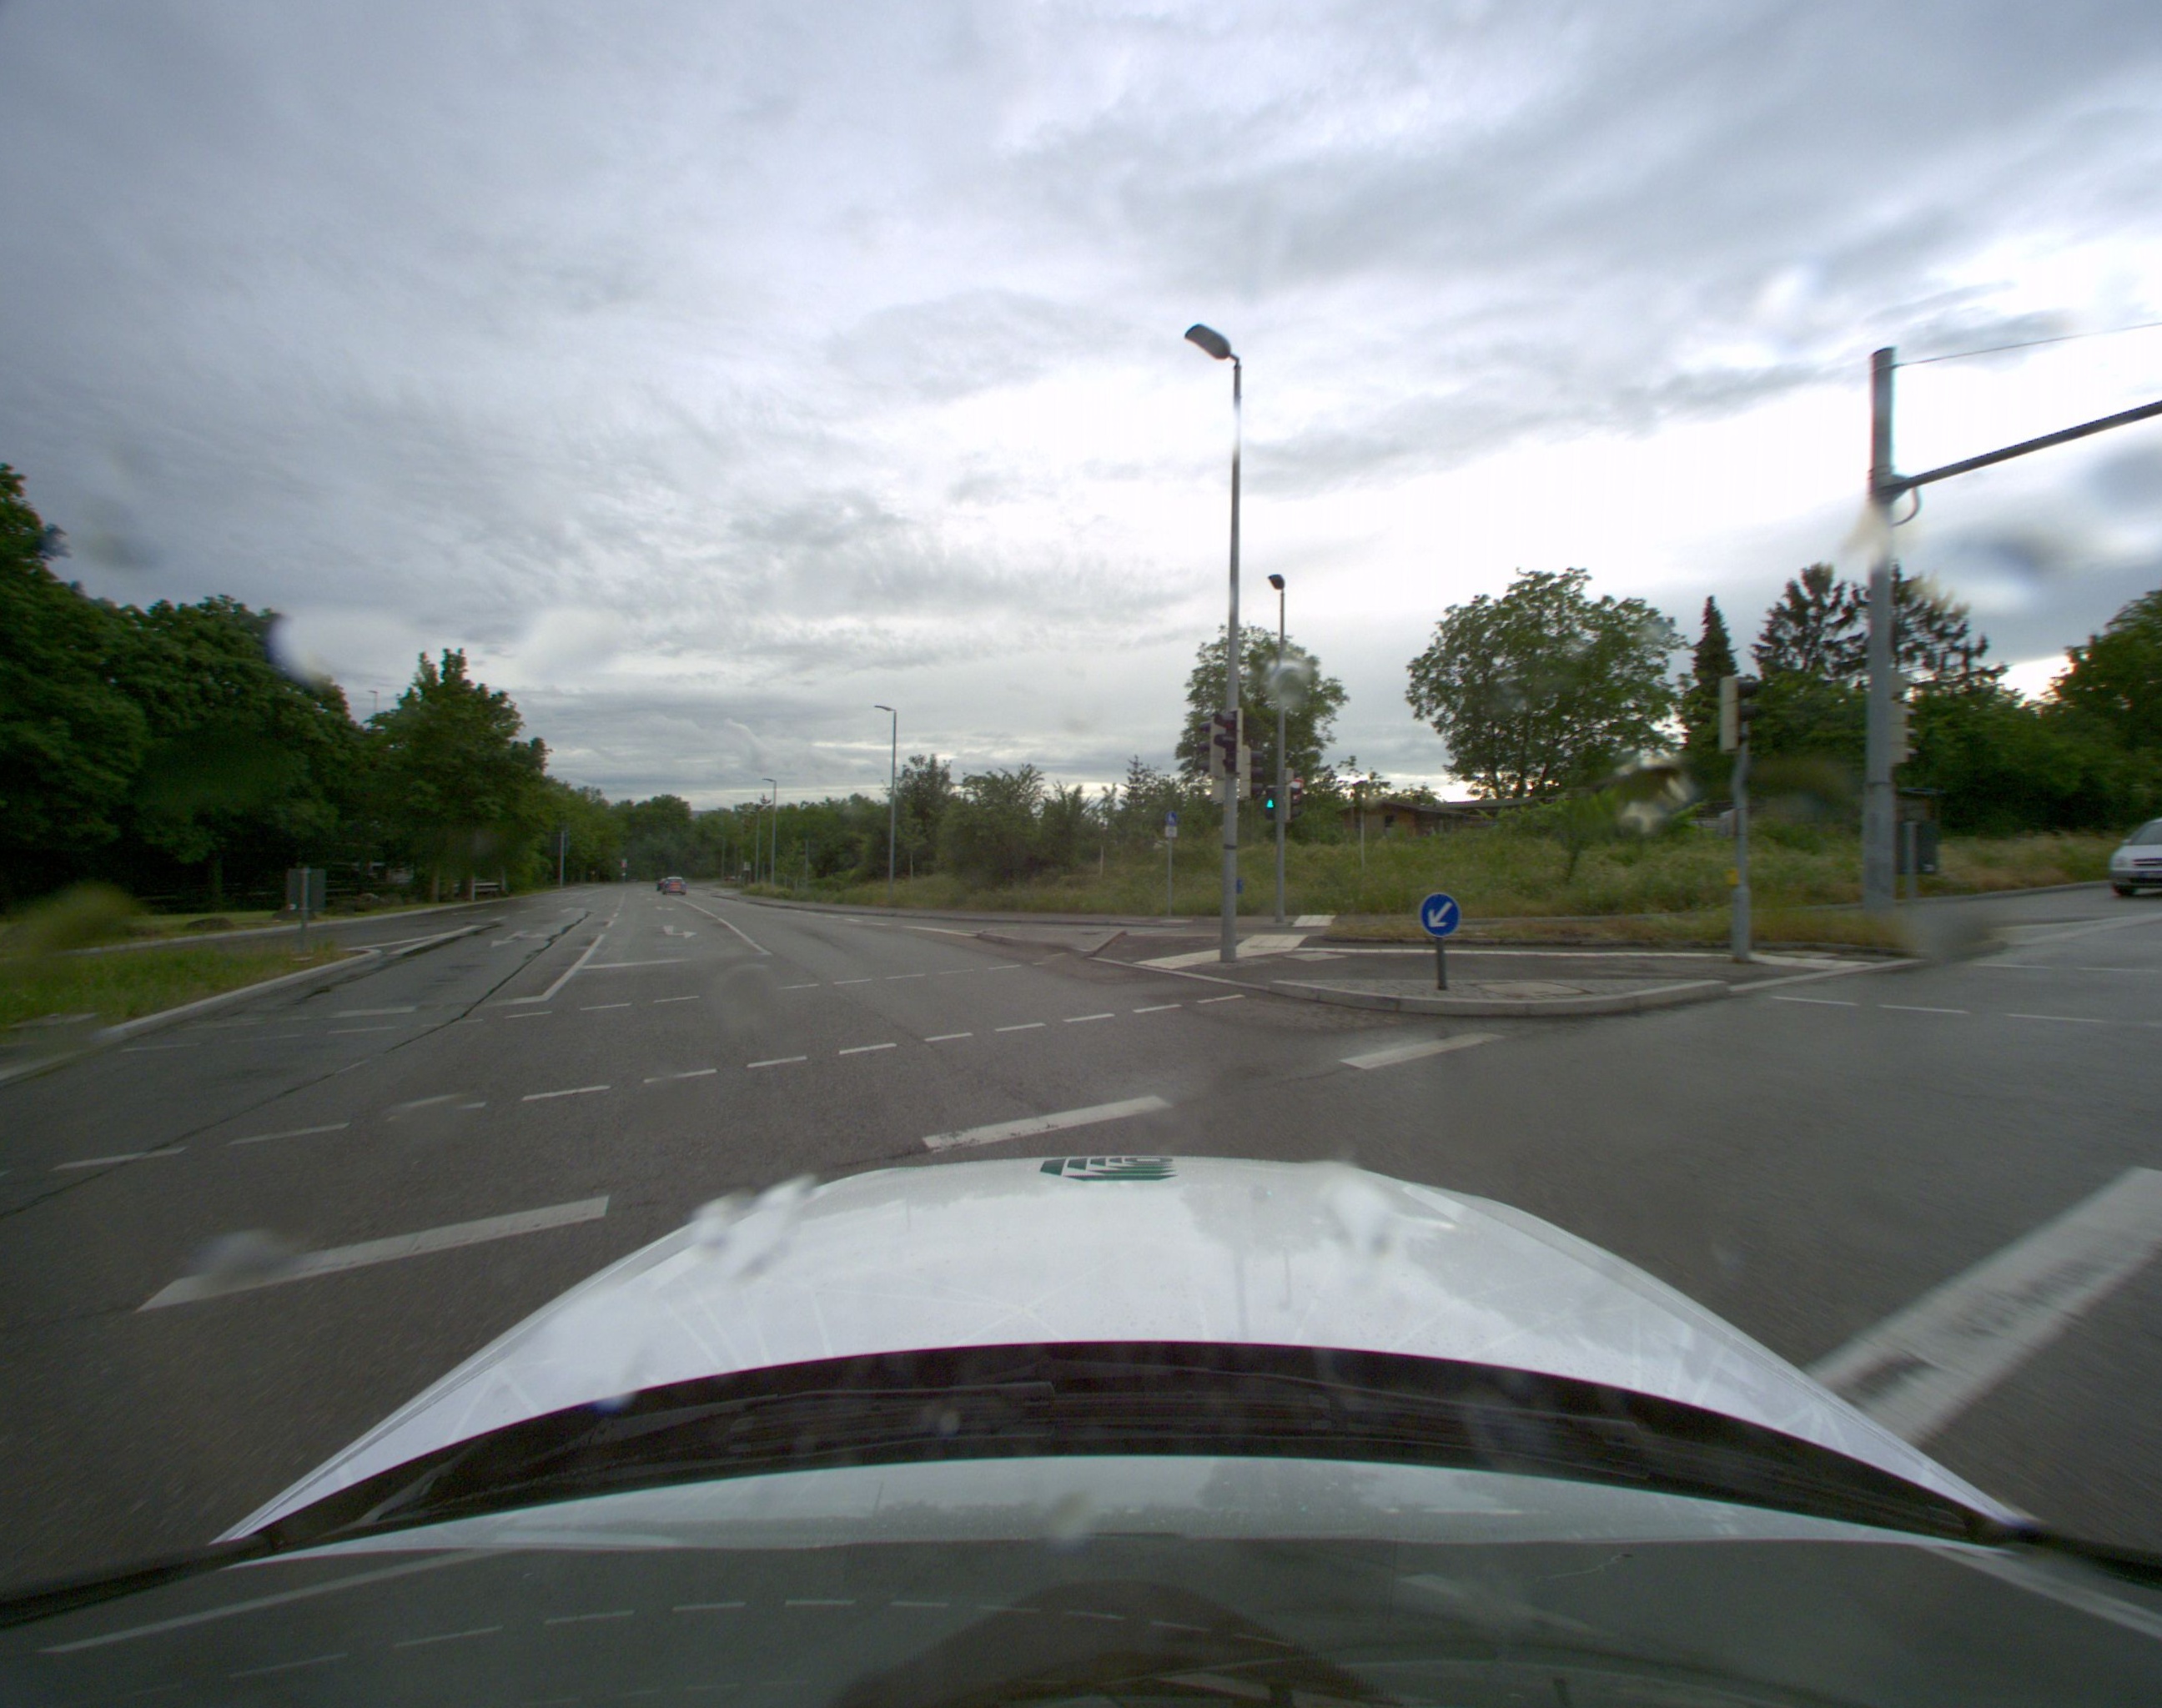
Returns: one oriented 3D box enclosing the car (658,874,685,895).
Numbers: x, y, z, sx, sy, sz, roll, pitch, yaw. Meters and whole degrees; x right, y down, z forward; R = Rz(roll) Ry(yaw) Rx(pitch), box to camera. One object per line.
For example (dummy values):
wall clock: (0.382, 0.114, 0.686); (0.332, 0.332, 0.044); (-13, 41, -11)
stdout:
car: (-35.947, 2.635, 71.444); (2.005, 1.689, 3.964); (0, 0, -28)

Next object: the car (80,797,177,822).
car: (-64.311, -3.010, 55.063); (3.979, 1.519, 1.997); (-1, -1, -4)

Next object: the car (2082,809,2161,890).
car: (23.248, -0.150, 16.899); (4.063, 1.605, 1.811); (-2, -3, -20)

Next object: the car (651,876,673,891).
car: (-45.223, 3.165, 87.889); (1.937, 1.486, 3.768); (0, 0, -25)

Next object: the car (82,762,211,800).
car: (-46.760, -3.647, 40.819); (3.975, 1.519, 1.999); (3, -1, -1)

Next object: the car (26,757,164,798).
car: (-46.934, -3.633, 38.844); (3.975, 1.519, 1.999); (3, -1, -1)

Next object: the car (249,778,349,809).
car: (-47.563, -3.654, 49.618); (3.975, 1.519, 1.999); (3, -1, -1)

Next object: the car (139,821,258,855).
car: (-46.765, -0.829, 43.239); (3.975, 1.519, 1.999); (3, -1, -1)

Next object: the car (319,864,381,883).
car: (-59.754, 1.591, 66.617); (3.460, 1.519, 1.582); (0, -2, -8)
